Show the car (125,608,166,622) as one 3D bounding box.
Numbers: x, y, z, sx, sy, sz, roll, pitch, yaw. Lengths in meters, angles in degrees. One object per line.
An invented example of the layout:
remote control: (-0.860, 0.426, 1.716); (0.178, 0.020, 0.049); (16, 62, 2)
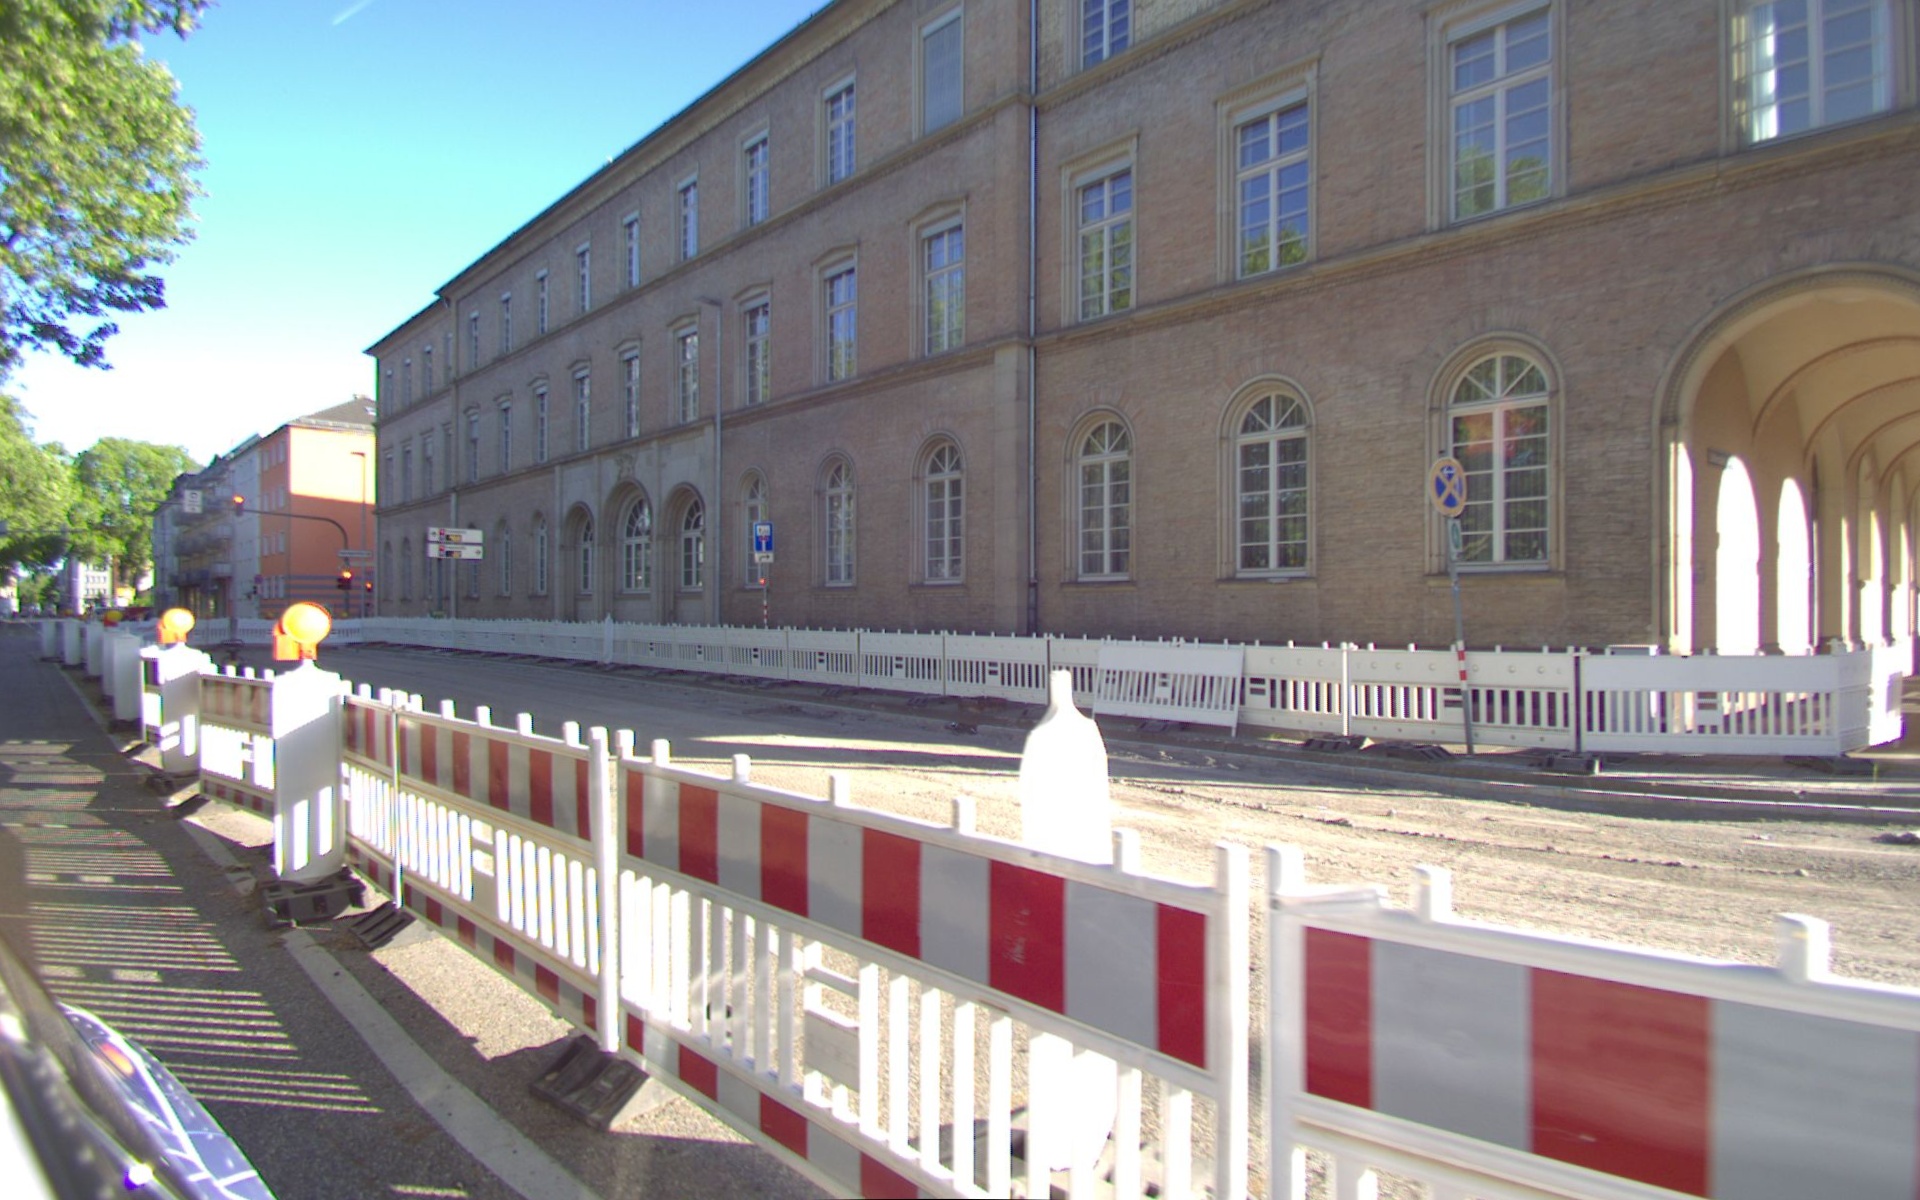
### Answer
car: (-103.795, 1.925, 128.985); (3.939, 1.712, 1.836); (1, -1, -42)

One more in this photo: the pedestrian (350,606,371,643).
pedestrian: (-29.162, 1.171, 49.224); (0.869, 1.785, 0.750); (0, -1, -34)

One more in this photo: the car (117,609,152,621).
car: (-120.640, 2.155, 147.912); (3.939, 1.712, 1.836); (1, -1, -42)

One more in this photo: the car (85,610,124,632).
car: (-78.917, 1.888, 93.319); (5.123, 1.830, 1.972); (1, 0, 42)

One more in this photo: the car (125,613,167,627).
car: (-100.435, 2.513, 124.832); (3.939, 1.712, 1.836); (1, -1, -42)
